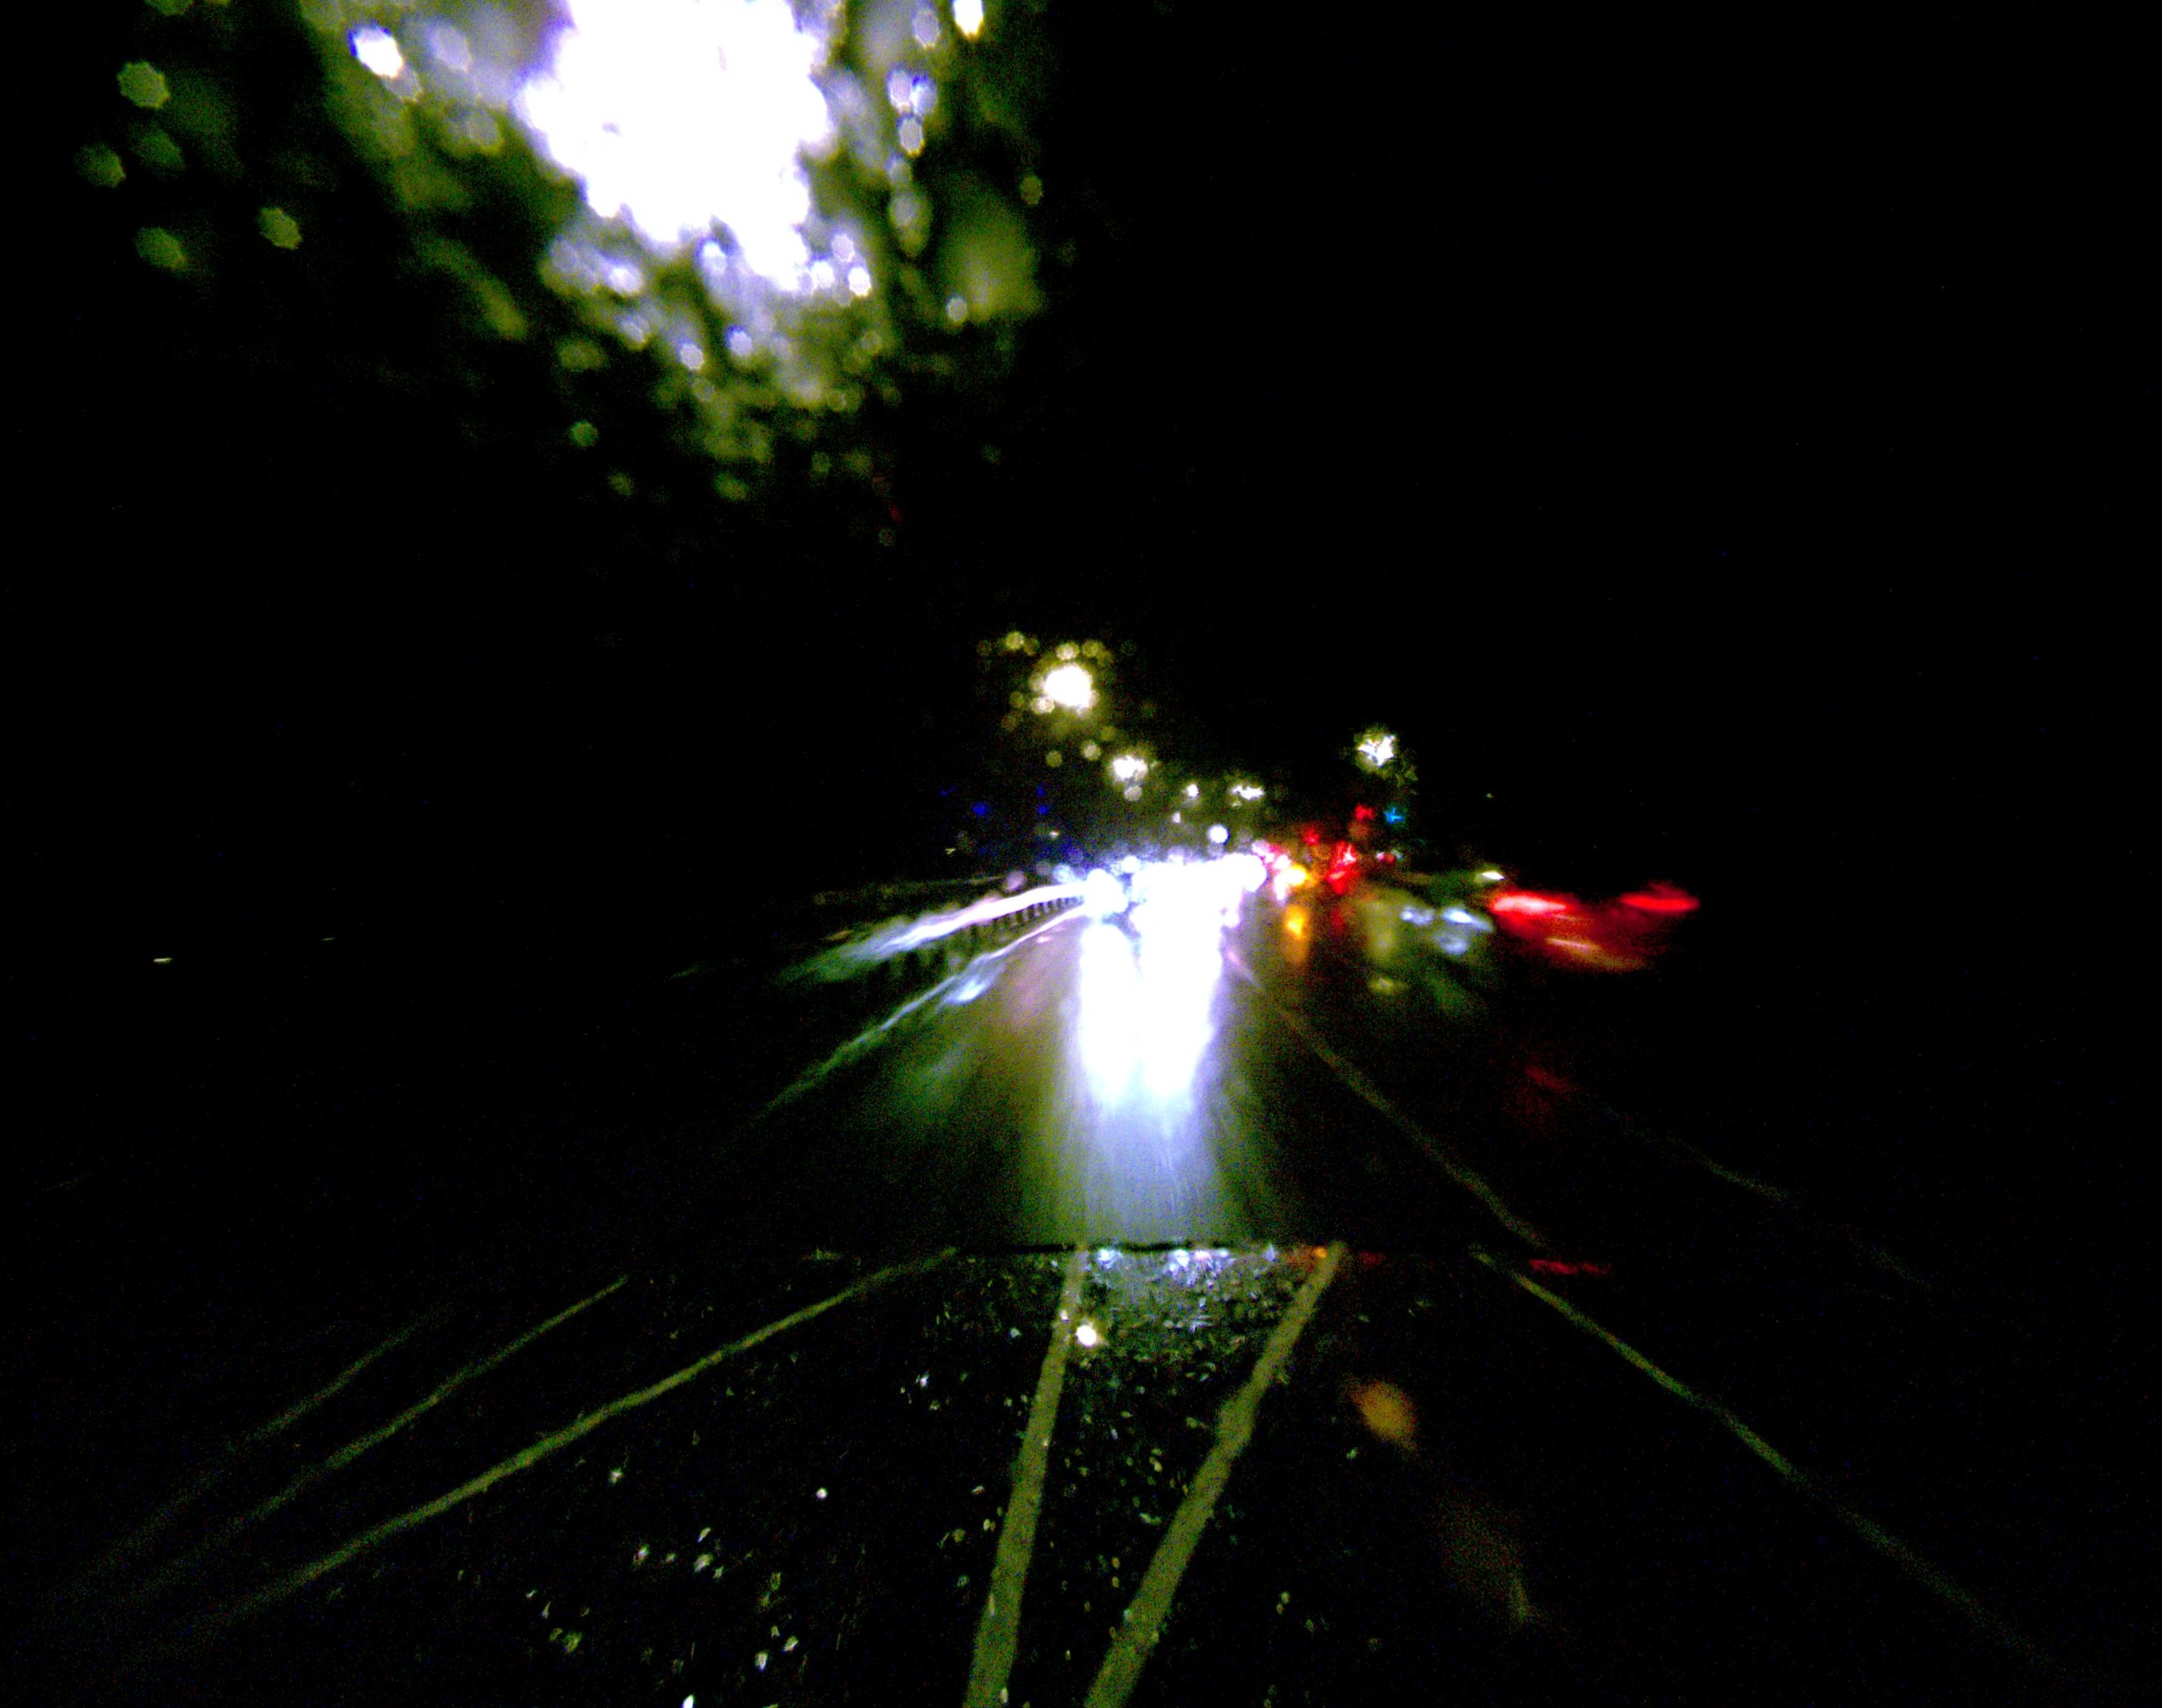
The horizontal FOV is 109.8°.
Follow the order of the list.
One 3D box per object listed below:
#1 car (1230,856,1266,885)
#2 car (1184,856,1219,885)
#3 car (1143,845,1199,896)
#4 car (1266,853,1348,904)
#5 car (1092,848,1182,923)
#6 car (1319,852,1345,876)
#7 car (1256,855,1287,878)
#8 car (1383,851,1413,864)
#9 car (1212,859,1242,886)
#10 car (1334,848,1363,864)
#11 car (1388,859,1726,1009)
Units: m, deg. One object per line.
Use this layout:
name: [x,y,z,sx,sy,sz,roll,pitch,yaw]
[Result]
car: [14.739,1.398,66.910,1.996,2.002,4.004,-8,1,26]
car: [6.792,0.921,42.522,1.521,1.516,3.111,-2,-1,16]
car: [3.808,0.643,31.670,1.997,2.002,4.003,-1,0,11]
car: [7.260,0.732,24.854,1.686,1.383,4.452,-3,1,6]
car: [1.550,0.791,19.480,1.926,1.704,4.243,0,-2,9]
car: [17.247,0.666,52.173,1.472,1.575,3.196,-2,-1,22]
car: [12.817,0.828,51.116,1.898,1.431,4.067,-1,0,15]
car: [34.086,0.346,81.626,1.767,1.419,4.228,0,1,42]
car: [9.827,1.239,51.056,1.304,1.519,3.050,-12,-4,19]
car: [28.984,0.201,82.286,2.000,1.664,4.626,-2,-1,30]
car: [5.252,0.778,9.130,1.818,1.396,4.050,-1,-1,6]
